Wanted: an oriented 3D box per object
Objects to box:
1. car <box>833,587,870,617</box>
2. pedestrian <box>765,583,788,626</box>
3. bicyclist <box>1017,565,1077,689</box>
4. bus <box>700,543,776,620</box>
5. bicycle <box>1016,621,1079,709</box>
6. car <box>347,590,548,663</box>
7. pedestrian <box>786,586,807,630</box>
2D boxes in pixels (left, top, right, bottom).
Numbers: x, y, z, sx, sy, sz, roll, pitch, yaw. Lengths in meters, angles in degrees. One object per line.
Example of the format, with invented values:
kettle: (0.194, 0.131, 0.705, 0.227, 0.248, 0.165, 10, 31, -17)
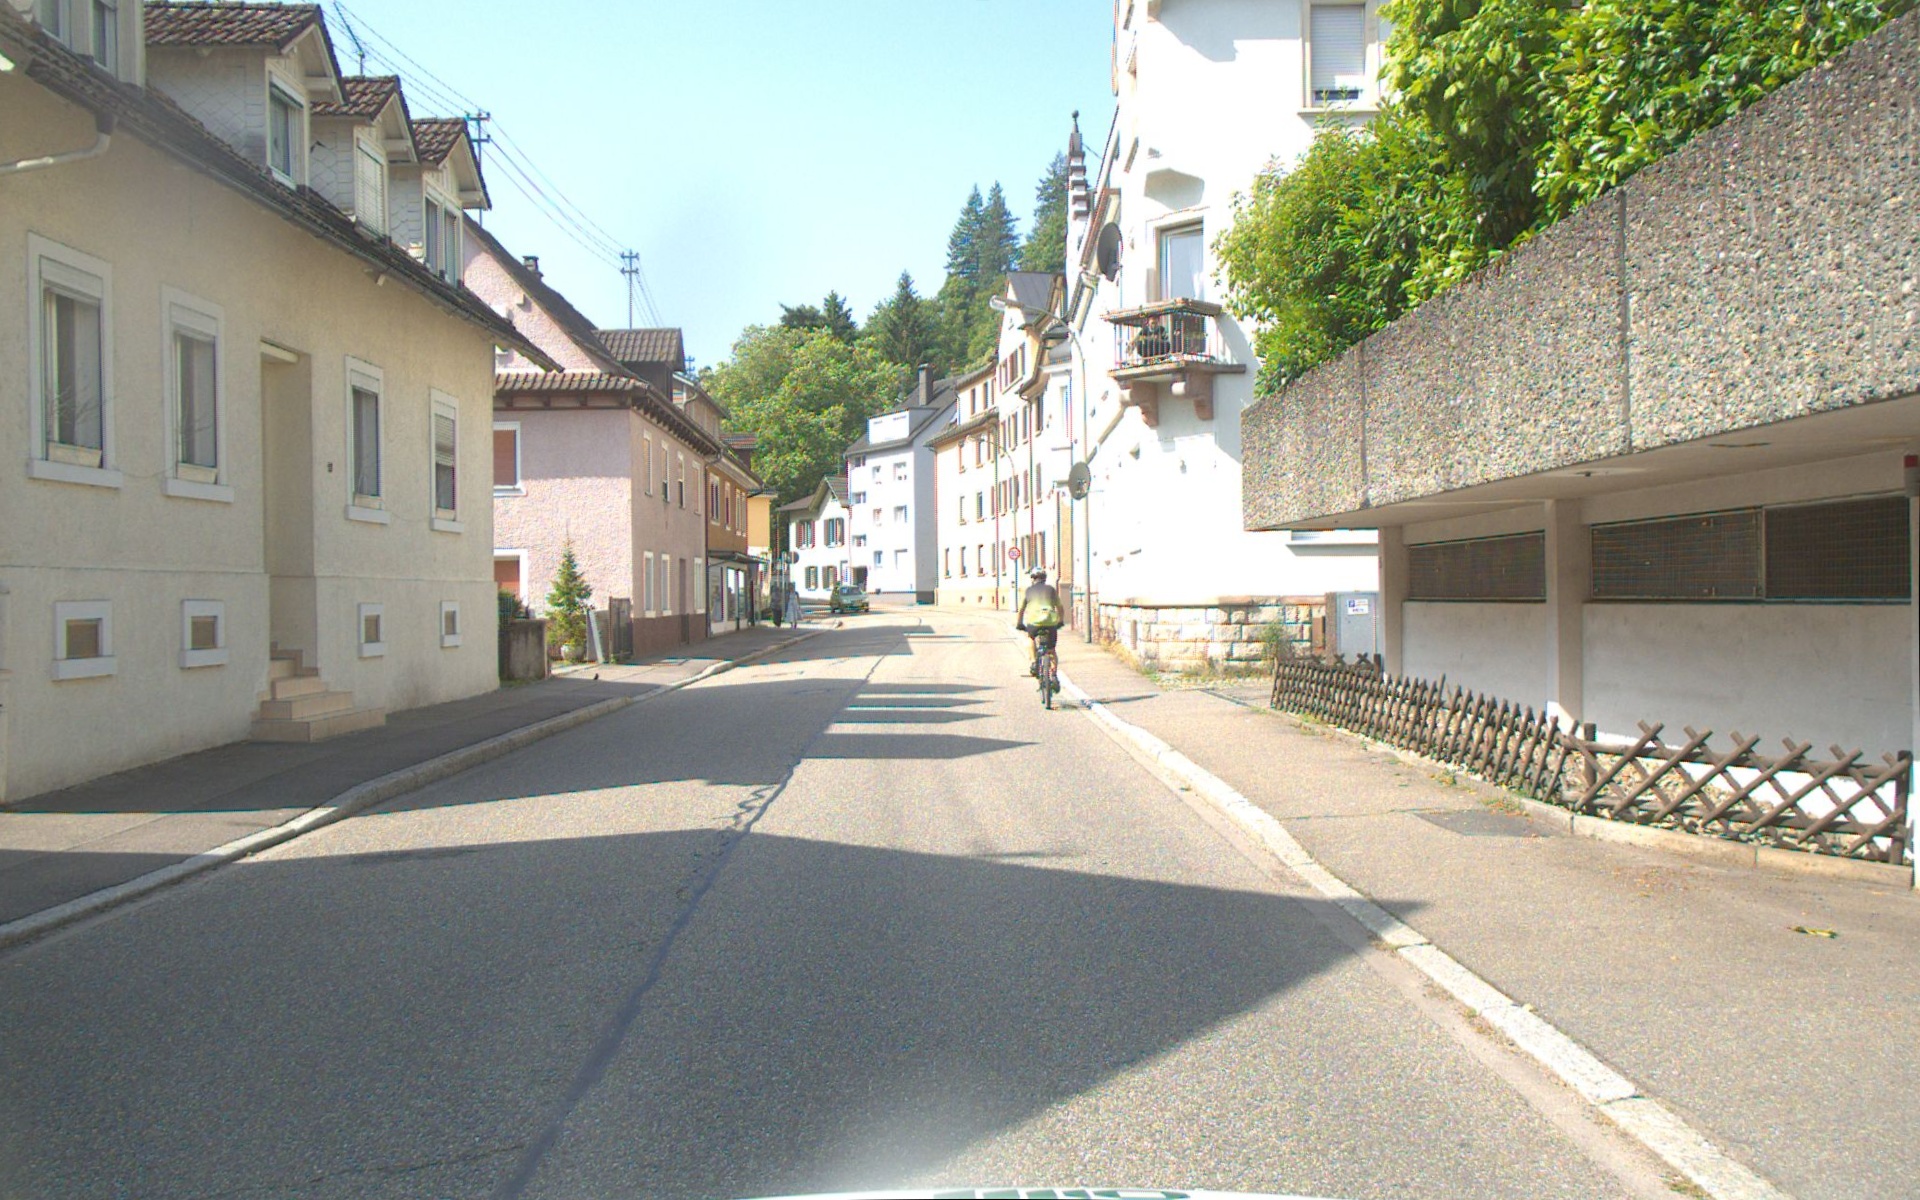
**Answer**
car: (-5.962, 0.102, 90.549, 1.568, 1.489, 3.650, -4, 0, -11)
pedestrian: (-6.965, 0.178, 62.793, 0.720, 1.592, 0.824, 2, 0, 0)
bicyclist: (1.117, 0.339, 21.309, 0.672, 1.558, 0.715, -2, 0, -2)
bus: (-10.060, -0.834, 75.658, 2.764, 3.284, 9.029, 1, 0, -4)
bicycle: (1.125, 0.825, 21.465, 0.684, 1.053, 1.470, 0, 1, -2)
car: (-10.548, 0.534, 34.244, 3.676, 1.417, 1.644, 1, 1, -4)
pedestrian: (-6.198, 0.298, 62.700, 0.626, 1.654, 0.777, 2, 0, 0)
